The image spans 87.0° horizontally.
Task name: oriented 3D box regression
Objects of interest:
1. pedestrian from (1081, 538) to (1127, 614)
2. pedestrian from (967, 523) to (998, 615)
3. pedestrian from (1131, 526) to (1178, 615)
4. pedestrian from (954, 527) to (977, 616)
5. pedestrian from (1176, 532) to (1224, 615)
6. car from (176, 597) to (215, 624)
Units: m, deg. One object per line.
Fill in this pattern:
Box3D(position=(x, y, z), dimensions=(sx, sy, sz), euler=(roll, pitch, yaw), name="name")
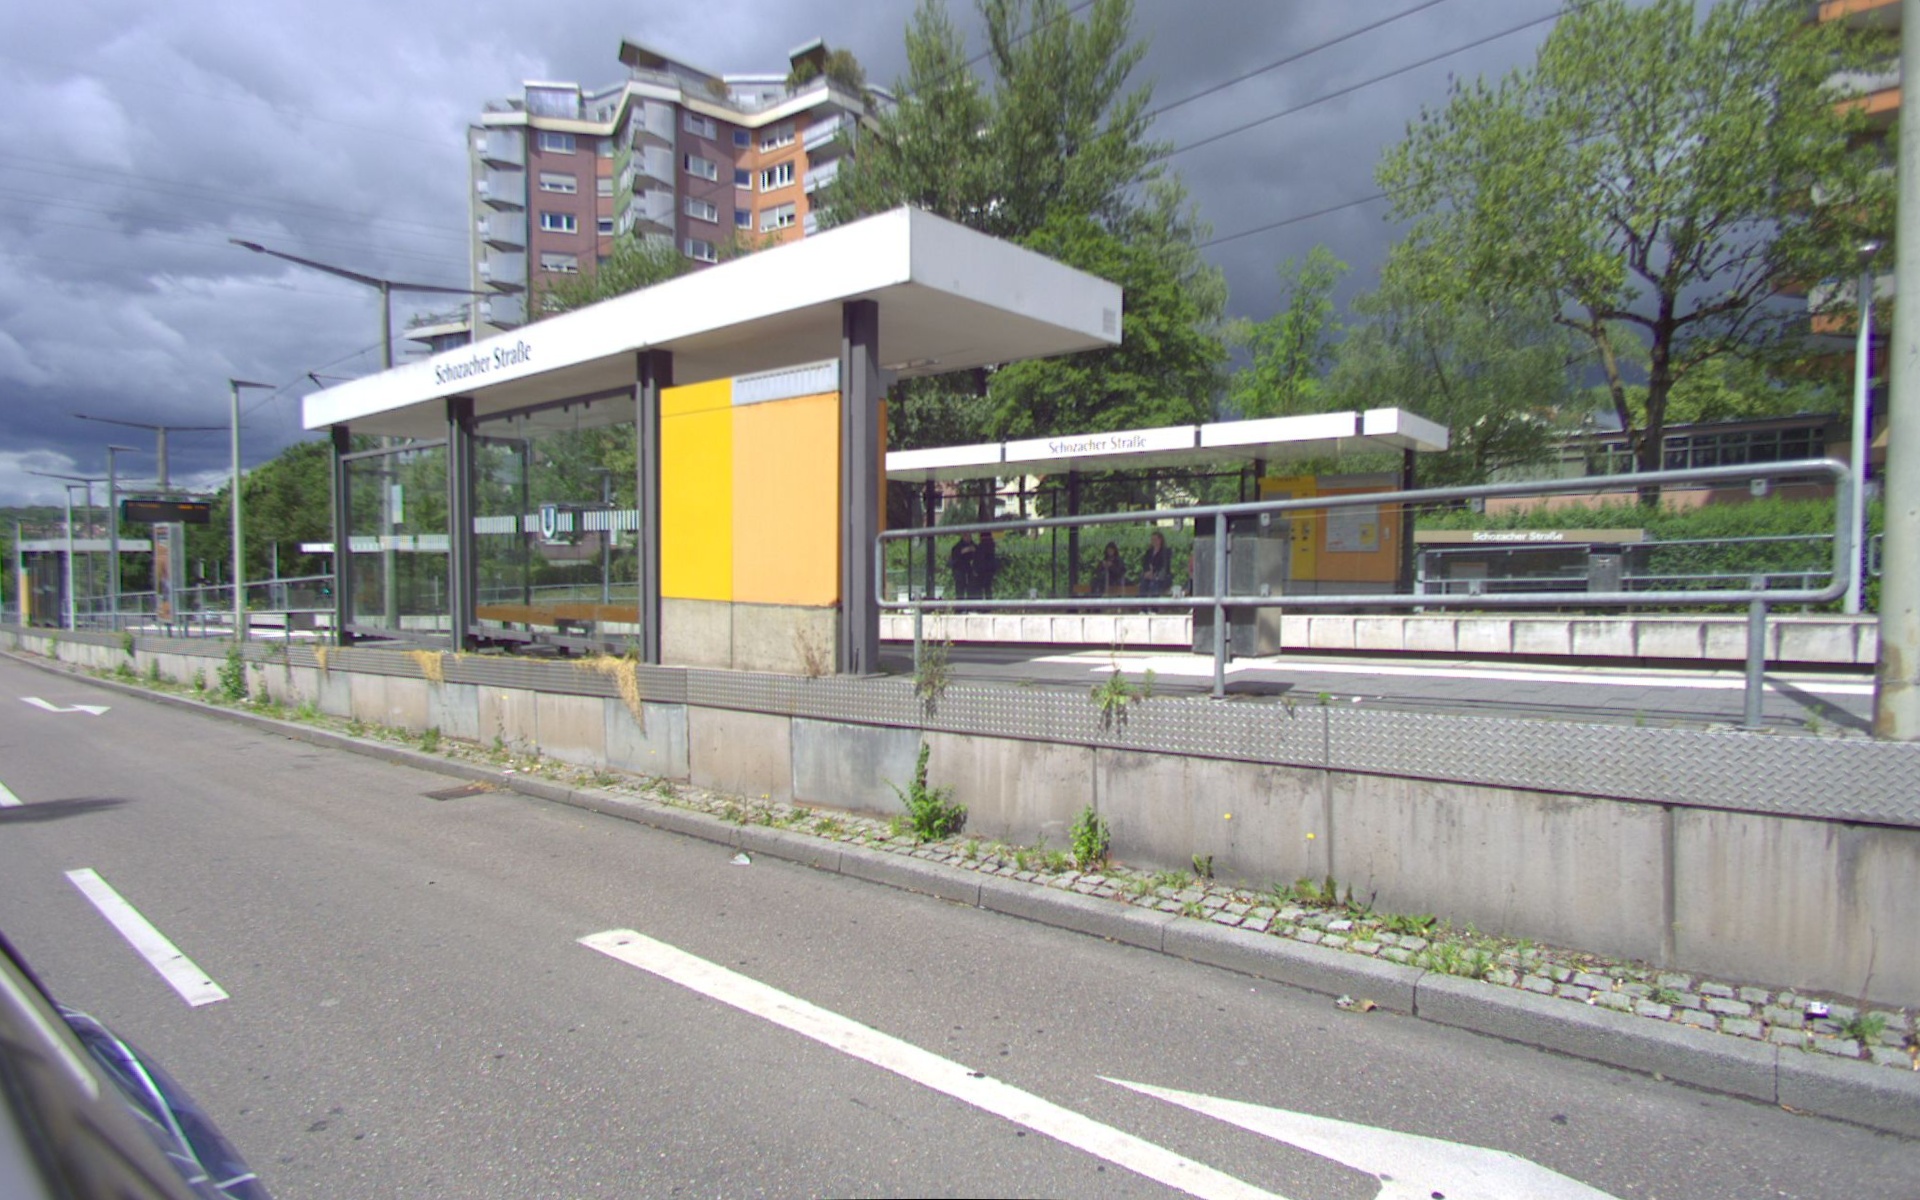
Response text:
Box3D(position=(2.492, -0.400, 17.490), dimensions=(0.463, 1.287, 0.704), euler=(-1, 0, 40), name="pedestrian")
Box3D(position=(0.431, -0.583, 19.281), dimensions=(0.544, 1.726, 0.386), euler=(-1, 0, -2), name="pedestrian")
Box3D(position=(3.207, -0.479, 16.690), dimensions=(0.463, 1.428, 0.704), euler=(-1, 0, 40), name="pedestrian")
Box3D(position=(0.110, -0.558, 19.823), dimensions=(0.421, 1.726, 0.353), euler=(-1, 0, -1), name="pedestrian")
Box3D(position=(3.831, -0.417, 16.136), dimensions=(0.463, 1.287, 0.704), euler=(-1, 0, 40), name="pedestrian")
Box3D(position=(-60.453, 0.833, 80.005), dimensions=(4.000, 2.029, 1.714), euler=(-1, 0, 43), name="car")
